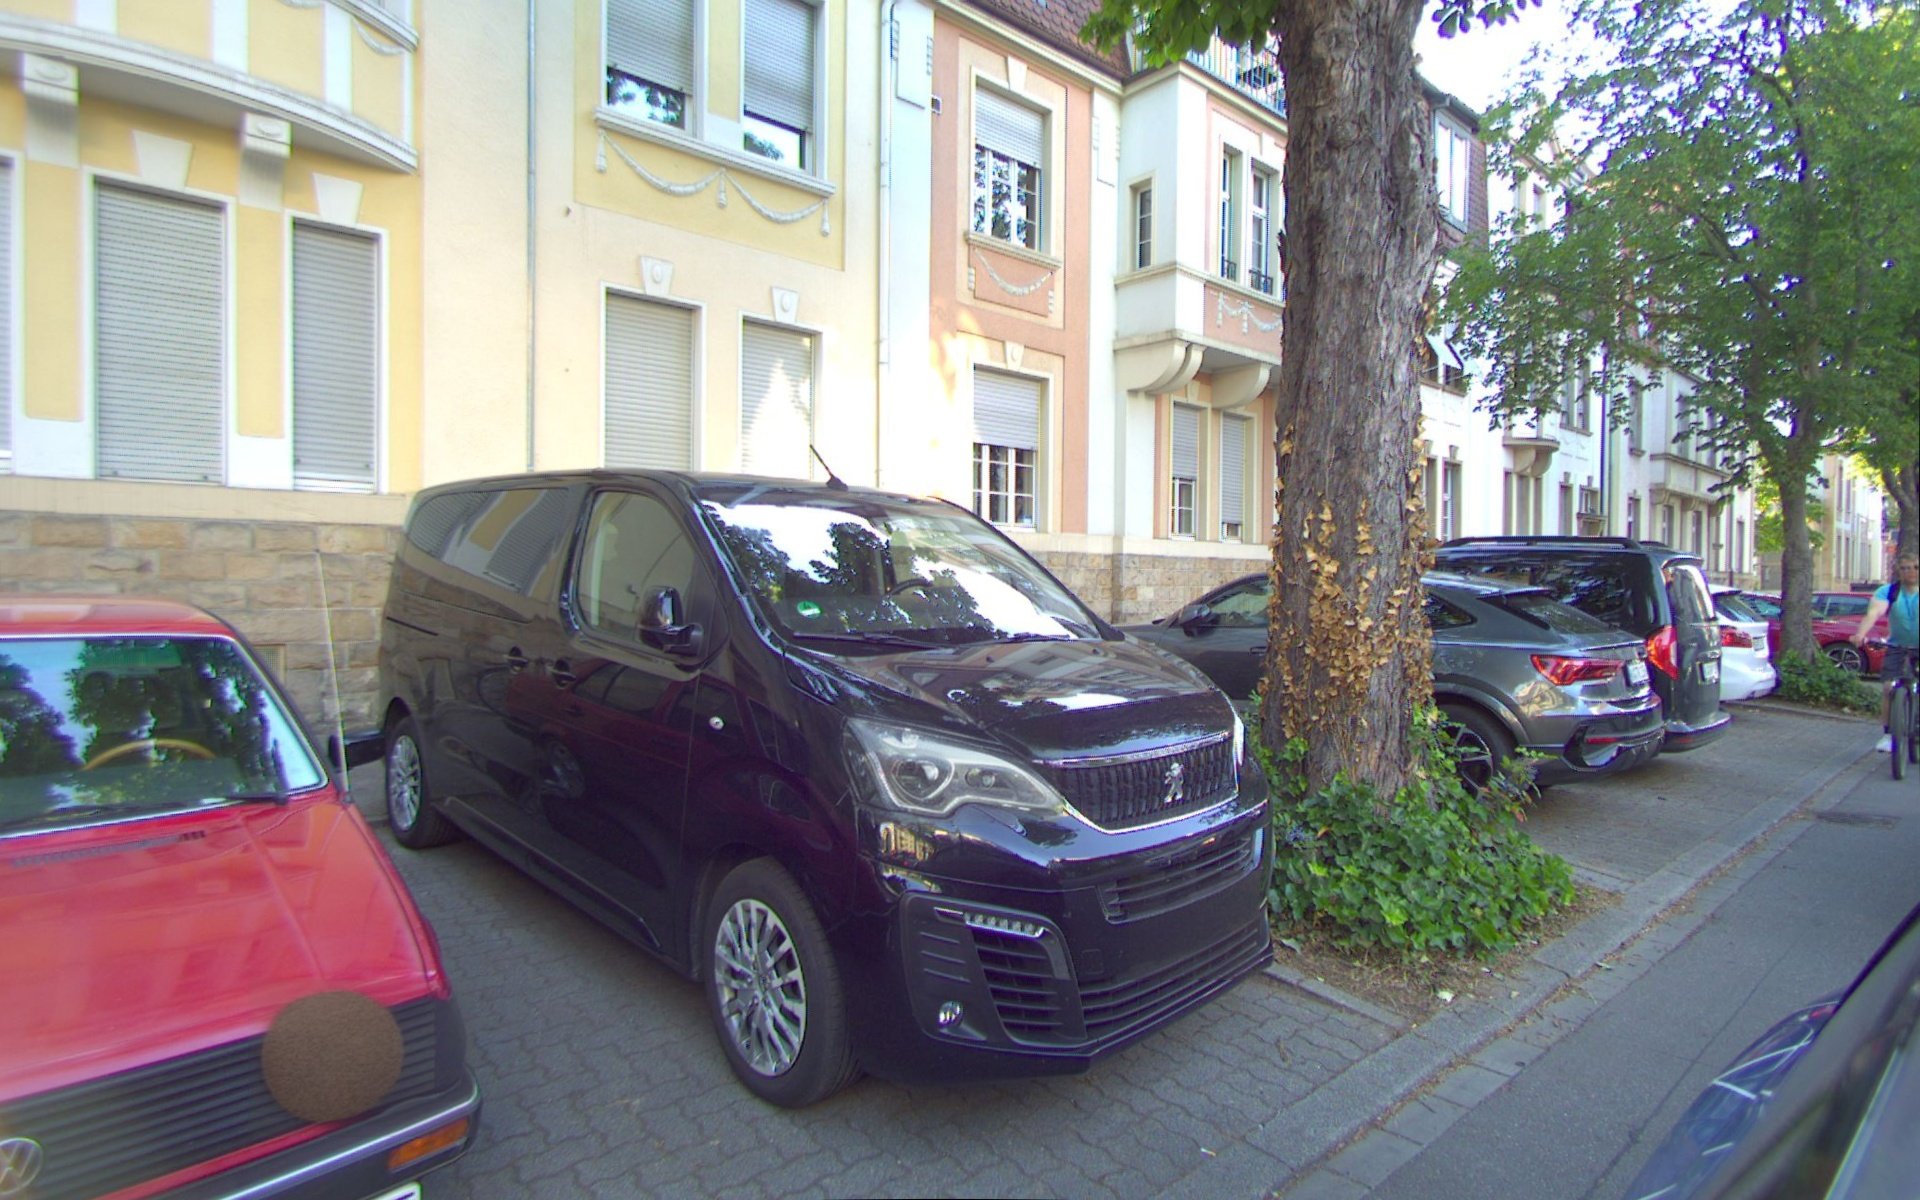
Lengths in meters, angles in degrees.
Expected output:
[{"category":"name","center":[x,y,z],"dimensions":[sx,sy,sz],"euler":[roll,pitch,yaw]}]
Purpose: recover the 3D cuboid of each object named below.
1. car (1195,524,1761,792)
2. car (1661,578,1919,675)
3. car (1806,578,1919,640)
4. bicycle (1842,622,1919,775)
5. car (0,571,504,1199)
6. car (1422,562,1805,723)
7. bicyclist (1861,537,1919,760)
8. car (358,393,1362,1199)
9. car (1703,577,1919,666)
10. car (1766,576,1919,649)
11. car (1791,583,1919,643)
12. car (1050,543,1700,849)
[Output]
[{"category":"car","center":[4.340,0.275,9.004],"dimensions":[1.569,1.849,4.165],"euler":[-1,4,-44]},{"category":"car","center":[14.917,0.396,18.086],"dimensions":[1.511,1.420,3.621],"euler":[0,3,-40]},{"category":"car","center":[25.877,0.247,27.942],"dimensions":[1.511,1.584,3.621],"euler":[0,2,-40]},{"category":"bicycle","center":[8.082,0.776,8.506],"dimensions":[1.978,1.132,0.743],"euler":[0,0,-41]},{"category":"car","center":[-2.810,0.648,2.978],"dimensions":[1.532,1.336,3.917],"euler":[-1,4,-43]},{"category":"car","center":[7.770,0.383,12.255],"dimensions":[1.513,1.569,3.616],"euler":[-1,3,-45]},{"category":"bicyclist","center":[8.013,0.385,8.434],"dimensions":[0.816,1.797,0.648],"euler":[0,0,-41]},{"category":"car","center":[-0.990,0.342,4.533],"dimensions":[1.851,1.846,4.825],"euler":[-1,4,-44]},{"category":"car","center":[16.863,0.365,19.673],"dimensions":[1.511,1.482,3.621],"euler":[0,3,-40]},{"category":"car","center":[21.638,0.265,24.075],"dimensions":[1.511,1.584,3.621],"euler":[0,2,-40]},{"category":"car","center":[23.973,0.328,26.160],"dimensions":[1.511,1.420,3.621],"euler":[0,3,-40]},{"category":"car","center":[2.779,0.423,7.527],"dimensions":[1.569,1.611,4.165],"euler":[-1,4,-44]}]
